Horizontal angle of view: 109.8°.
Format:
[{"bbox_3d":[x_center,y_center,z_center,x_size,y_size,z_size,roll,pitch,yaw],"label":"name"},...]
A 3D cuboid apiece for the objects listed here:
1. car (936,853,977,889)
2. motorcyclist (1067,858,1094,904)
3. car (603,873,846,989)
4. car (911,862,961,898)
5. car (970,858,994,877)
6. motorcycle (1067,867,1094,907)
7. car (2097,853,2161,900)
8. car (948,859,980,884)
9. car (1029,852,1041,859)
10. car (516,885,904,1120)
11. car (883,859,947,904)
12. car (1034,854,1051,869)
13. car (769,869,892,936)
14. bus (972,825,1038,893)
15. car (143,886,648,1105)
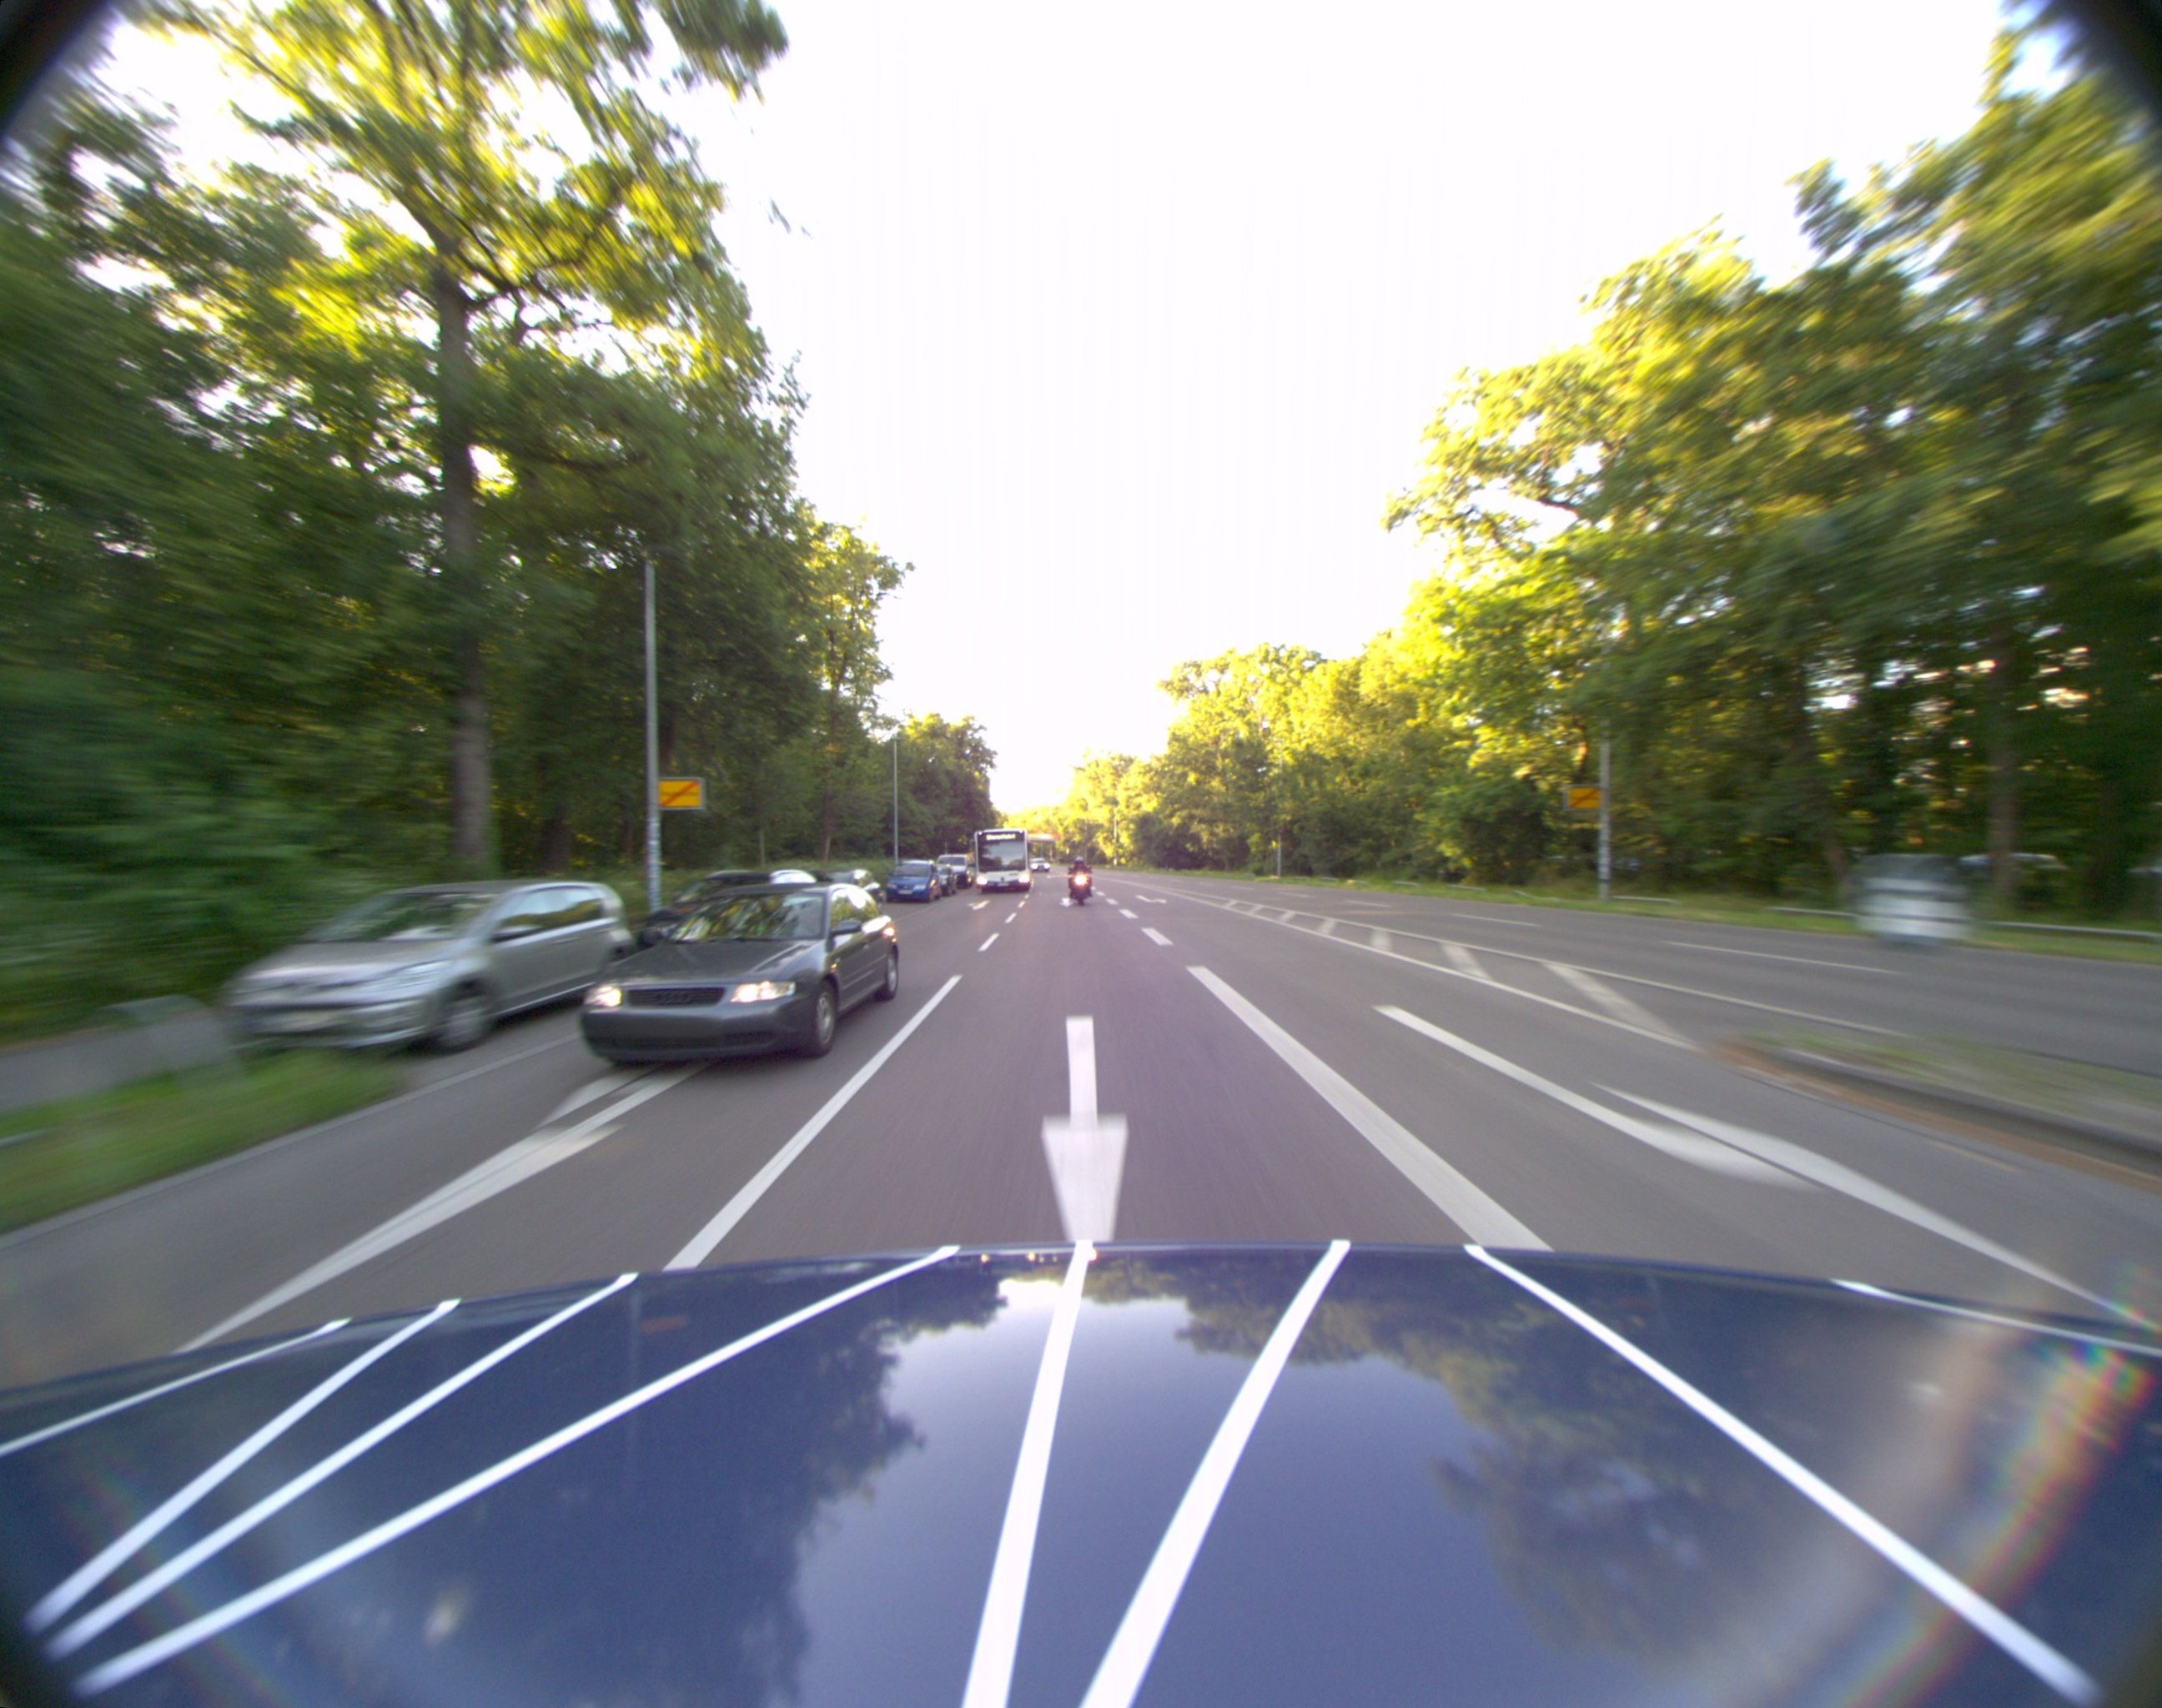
[{"bbox_3d":[-7.290,0.941,44.985,1.820,1.910,5.265,-2,1,-4],"label":"car"},{"bbox_3d":[-0.005,0.898,25.695,0.830,1.484,1.024,-2,0,2],"label":"motorcyclist"},{"bbox_3d":[-5.789,1.143,13.213,1.766,1.460,5.116,0,0,0],"label":"car"},{"bbox_3d":[-6.675,1.171,35.434,1.820,1.470,3.827,-2,1,-4],"label":"car"},{"bbox_3d":[-8.147,1.112,62.771,1.595,1.374,3.828,-2,1,-2],"label":"car"},{"bbox_3d":[0.005,1.095,25.701,0.830,1.211,2.604,-2,0,2],"label":"motorcycle"},{"bbox_3d":[42.512,0.843,29.337,3.997,1.715,2.000,-1,0,-2],"label":"car"},{"bbox_3d":[-7.825,1.118,51.107,1.820,1.501,3.827,-2,1,-5],"label":"car"},{"bbox_3d":[-10.509,0.344,172.778,1.845,1.682,4.648,-2,0,-13],"label":"car"},{"bbox_3d":[-2.950,1.080,7.101,1.679,1.351,3.994,-2,0,-1],"label":"car"},{"bbox_3d":[-6.479,1.037,30.030,1.819,1.624,3.828,0,0,-3],"label":"car"},{"bbox_3d":[-4.183,0.816,82.742,1.679,1.552,3.993,-2,0,-2],"label":"car"},{"bbox_3d":[-6.171,1.132,19.219,1.676,1.396,4.230,0,0,0],"label":"car"},{"bbox_3d":[-3.891,0.259,41.736,2.813,3.030,12.882,-2,0,-3],"label":"bus"},{"bbox_3d":[-6.285,1.152,7.701,1.723,1.460,3.872,0,0,-3],"label":"car"}]
